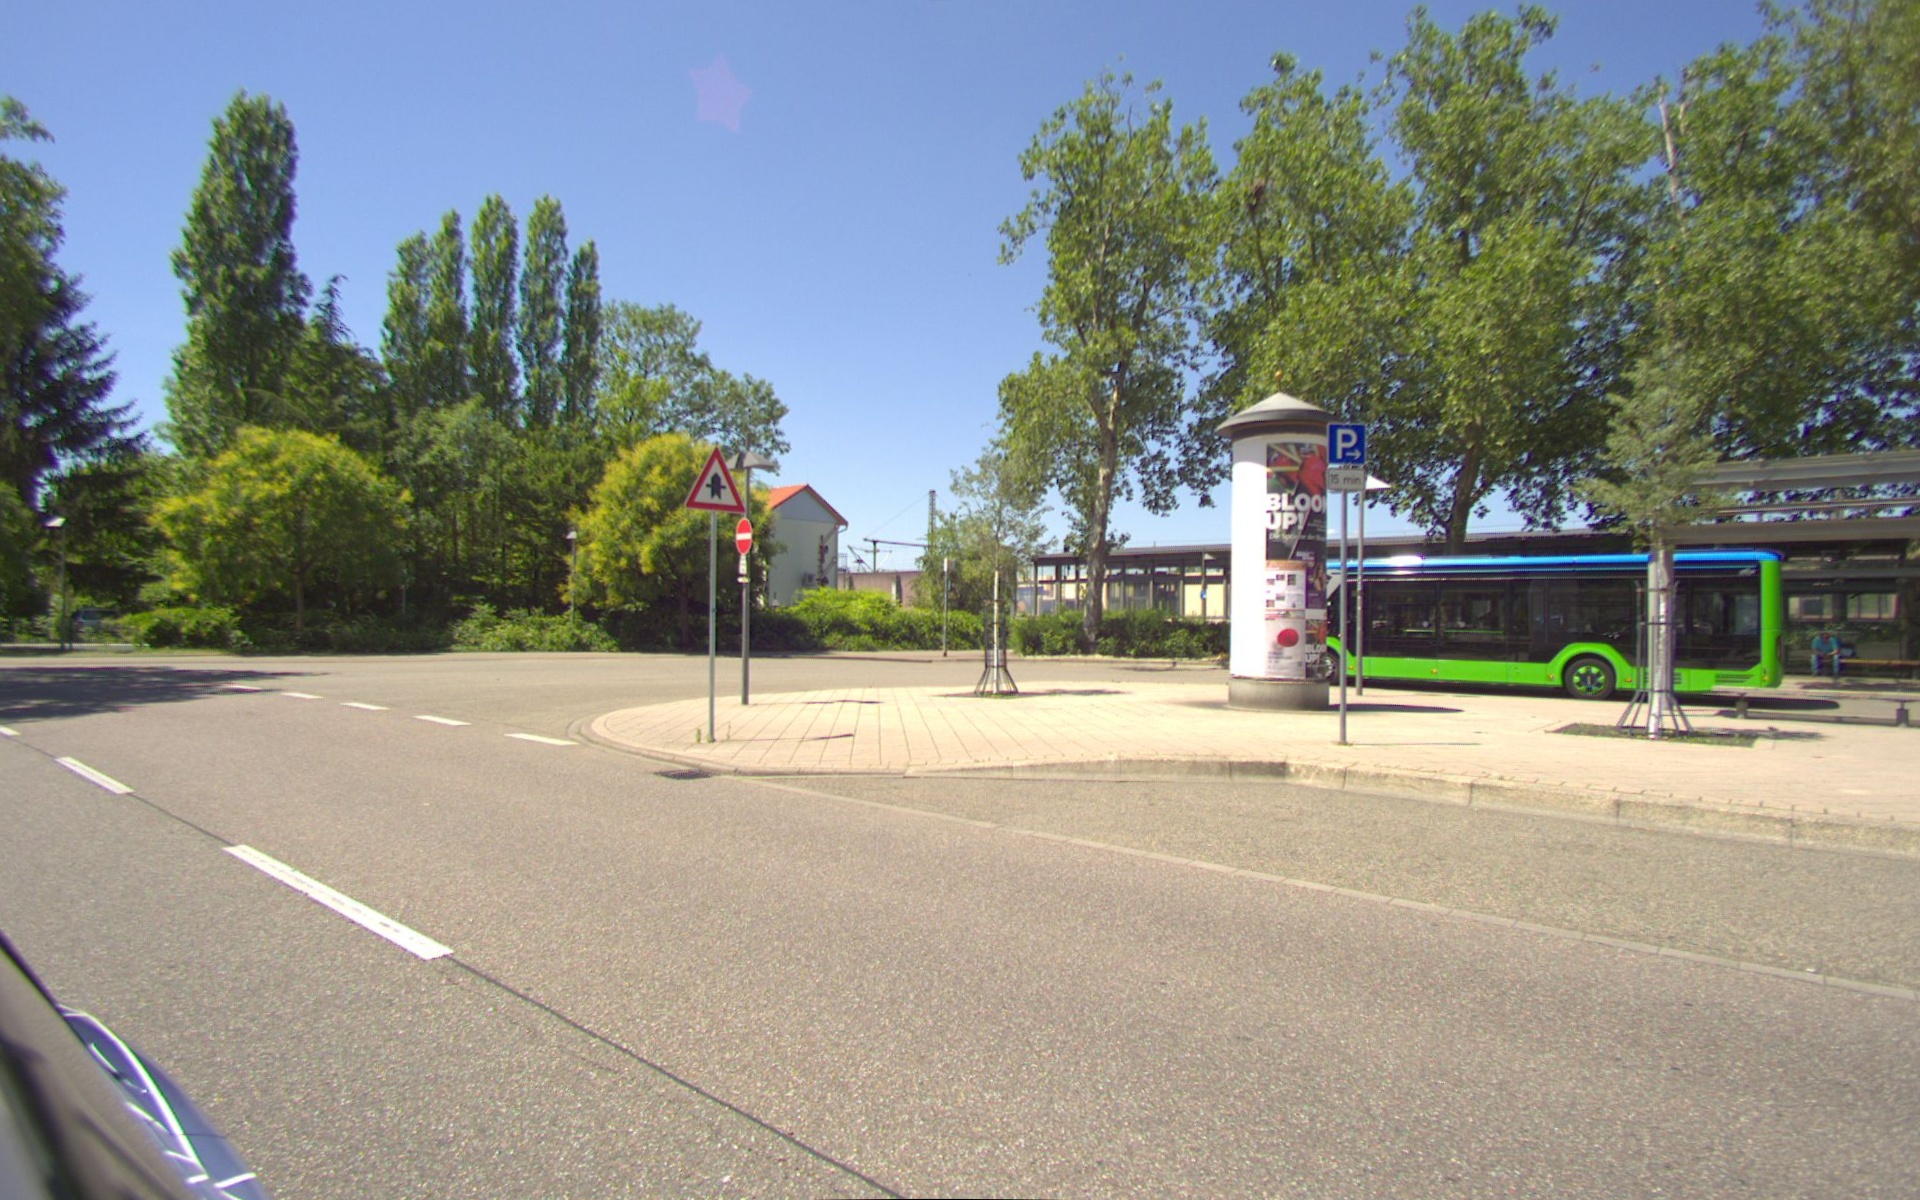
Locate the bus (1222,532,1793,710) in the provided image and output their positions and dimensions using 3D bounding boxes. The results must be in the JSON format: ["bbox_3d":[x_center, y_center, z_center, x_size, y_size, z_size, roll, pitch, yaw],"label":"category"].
[{"bbox_3d":[12.598,0.478,24.948,12.215,3.553,2.140,-1,-1,41],"label":"bus"}]

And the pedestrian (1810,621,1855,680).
[{"bbox_3d":[22.626,1.297,26.251,0.820,1.475,0.599,-1,-2,37],"label":"pedestrian"}]
